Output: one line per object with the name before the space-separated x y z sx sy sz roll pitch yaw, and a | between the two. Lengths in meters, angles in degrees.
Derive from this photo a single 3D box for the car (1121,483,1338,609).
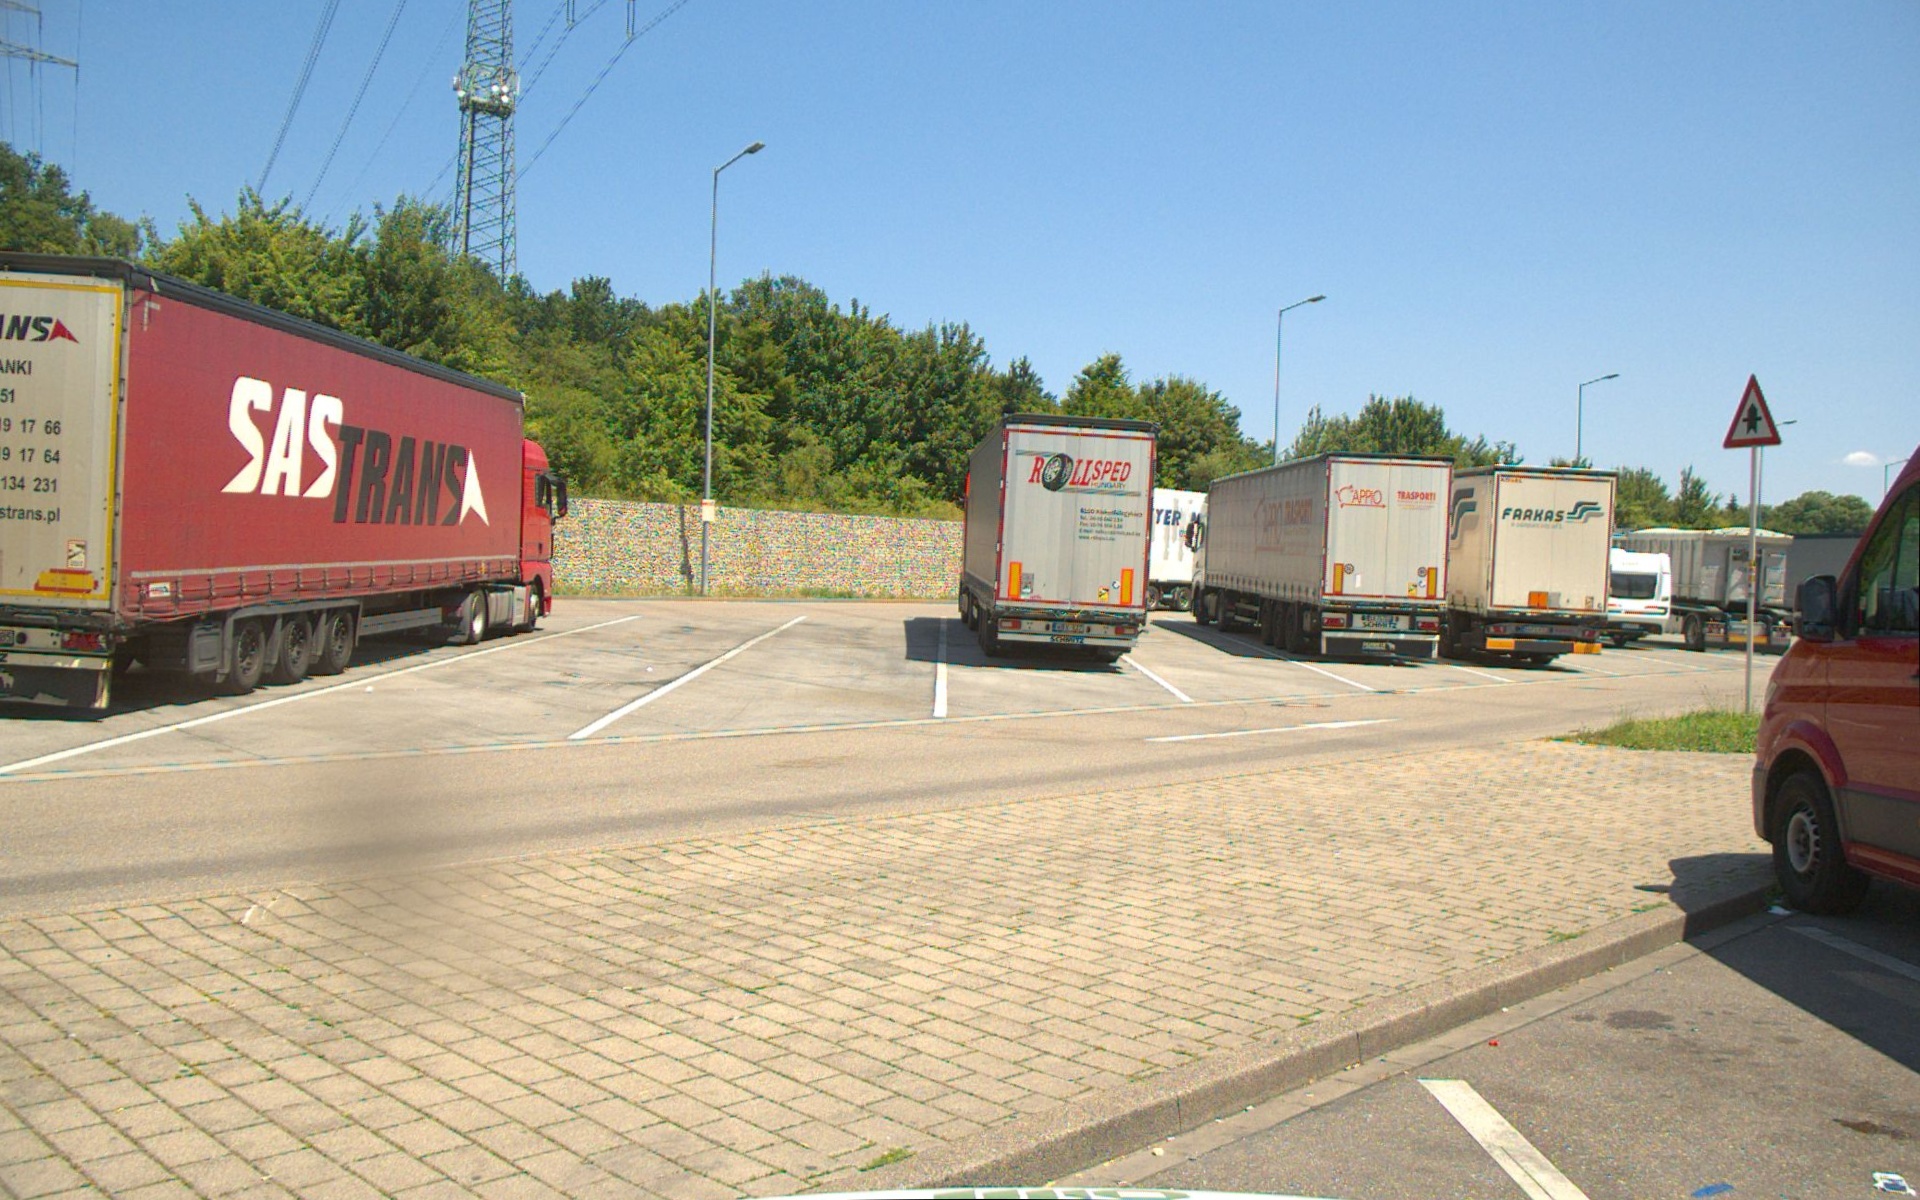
car | 10.169 -1.896 61.323 2.642 4.261 10.151 5 3 42

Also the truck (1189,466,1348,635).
truck | 8.170 -1.383 44.703 2.808 4.107 6.956 2 2 -1

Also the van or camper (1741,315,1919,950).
van or camper | 4.986 0.174 5.528 1.954 2.700 6.482 1 1 3

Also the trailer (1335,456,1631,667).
trailer | 11.825 -1.021 39.189 2.808 4.107 12.438 2 2 -1

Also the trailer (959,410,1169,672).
trailer | 1.655 -1.238 33.639 2.809 4.107 14.238 2 2 -2

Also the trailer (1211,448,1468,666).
trailer | 8.248 -1.087 38.073 2.808 4.107 12.438 2 2 -1

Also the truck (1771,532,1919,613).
truck | 34.708 -1.063 63.599 2.082 2.869 9.777 1 1 -1

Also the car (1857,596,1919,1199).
car | 2.536 0.795 1.081 1.584 1.509 3.762 1 1 -6

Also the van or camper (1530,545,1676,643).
van or camper | 18.271 -0.219 47.313 2.061 2.606 5.372 1 1 0

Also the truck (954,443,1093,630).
truck | 1.426 -1.564 40.719 2.809 4.107 7.026 2 2 -2

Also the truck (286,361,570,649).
truck | -8.697 -1.528 27.848 2.641 4.184 6.239 2 2 0

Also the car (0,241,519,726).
car | -8.677 -1.280 20.931 2.641 4.184 12.935 2 2 0

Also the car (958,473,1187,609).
car | 3.845 -1.848 54.509 2.643 4.114 8.411 5 3 43

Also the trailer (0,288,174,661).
trailer | -12.548 -1.406 17.133 2.756 4.341 12.940 2 2 -1

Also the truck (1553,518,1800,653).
truck | 21.752 -0.646 51.209 2.437 3.630 11.423 2 2 -1
